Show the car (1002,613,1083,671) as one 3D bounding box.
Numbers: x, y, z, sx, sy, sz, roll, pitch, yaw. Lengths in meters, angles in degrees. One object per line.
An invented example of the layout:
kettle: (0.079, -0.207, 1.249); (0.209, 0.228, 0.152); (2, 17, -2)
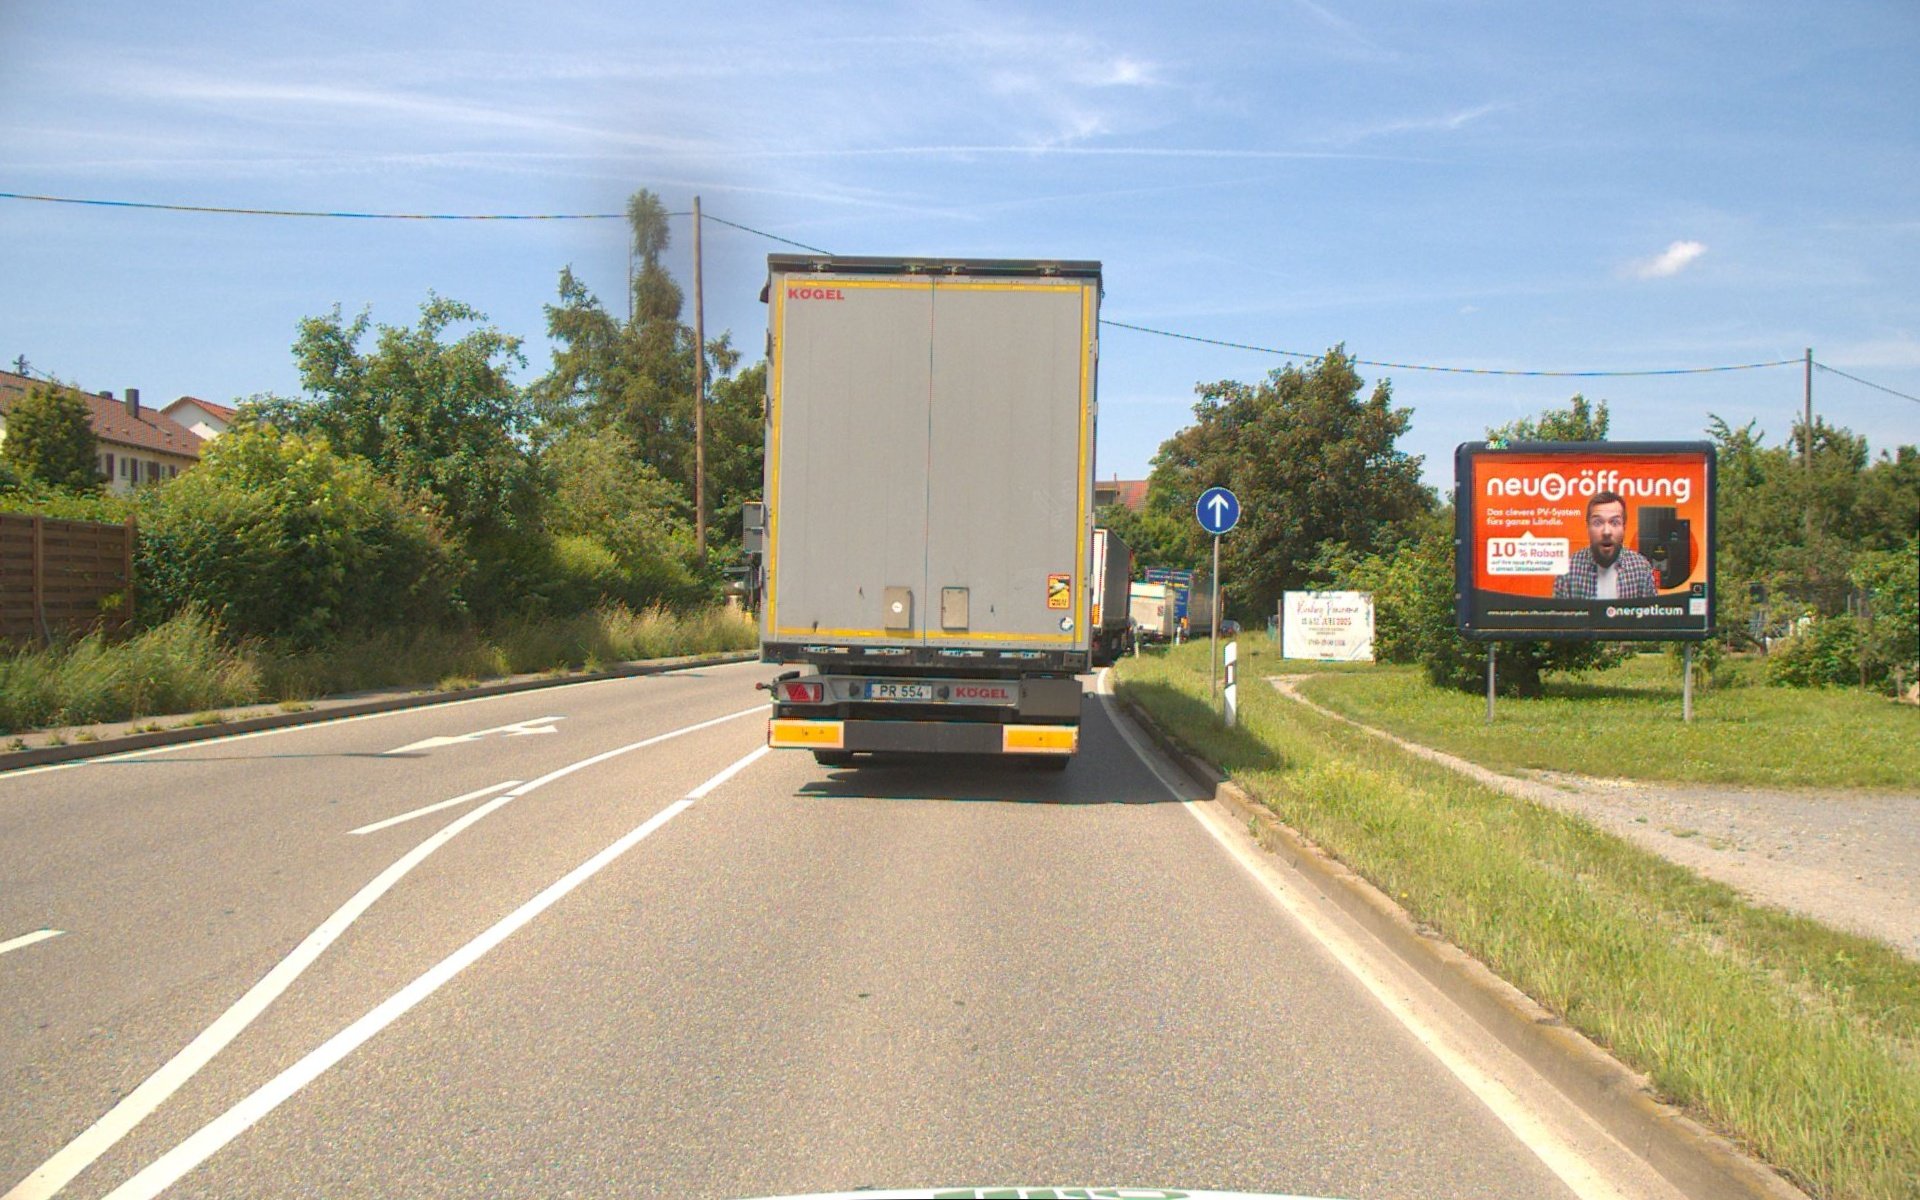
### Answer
car: (2.122, 1.034, 41.690); (1.780, 1.370, 3.850); (1, -1, 6)

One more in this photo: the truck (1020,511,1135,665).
truck: (4.221, -0.242, 55.450); (2.701, 4.364, 16.427); (1, -1, 8)

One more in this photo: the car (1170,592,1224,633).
car: (14.197, 0.700, 98.703); (2.478, 2.317, 6.386); (1, 0, 14)

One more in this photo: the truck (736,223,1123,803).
truck: (0.026, -0.675, 17.818); (2.763, 4.200, 11.447); (1, 0, 3)

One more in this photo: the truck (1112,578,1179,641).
truck: (8.982, 0.477, 79.698); (2.489, 2.852, 6.036); (1, -1, 13)

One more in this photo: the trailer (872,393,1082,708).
trailer: (0.372, -0.684, 25.346); (2.766, 4.183, 6.546); (1, 0, 3)

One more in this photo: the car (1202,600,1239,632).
car: (16.982, 1.054, 107.762); (1.951, 2.049, 4.003); (1, -1, 14)

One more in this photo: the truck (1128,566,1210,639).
truck: (11.442, 0.084, 89.693); (3.360, 3.667, 9.361); (1, 1, 14)

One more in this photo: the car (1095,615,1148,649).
car: (7.016, 1.362, 71.627); (1.951, 1.400, 4.003); (1, -1, 10)
